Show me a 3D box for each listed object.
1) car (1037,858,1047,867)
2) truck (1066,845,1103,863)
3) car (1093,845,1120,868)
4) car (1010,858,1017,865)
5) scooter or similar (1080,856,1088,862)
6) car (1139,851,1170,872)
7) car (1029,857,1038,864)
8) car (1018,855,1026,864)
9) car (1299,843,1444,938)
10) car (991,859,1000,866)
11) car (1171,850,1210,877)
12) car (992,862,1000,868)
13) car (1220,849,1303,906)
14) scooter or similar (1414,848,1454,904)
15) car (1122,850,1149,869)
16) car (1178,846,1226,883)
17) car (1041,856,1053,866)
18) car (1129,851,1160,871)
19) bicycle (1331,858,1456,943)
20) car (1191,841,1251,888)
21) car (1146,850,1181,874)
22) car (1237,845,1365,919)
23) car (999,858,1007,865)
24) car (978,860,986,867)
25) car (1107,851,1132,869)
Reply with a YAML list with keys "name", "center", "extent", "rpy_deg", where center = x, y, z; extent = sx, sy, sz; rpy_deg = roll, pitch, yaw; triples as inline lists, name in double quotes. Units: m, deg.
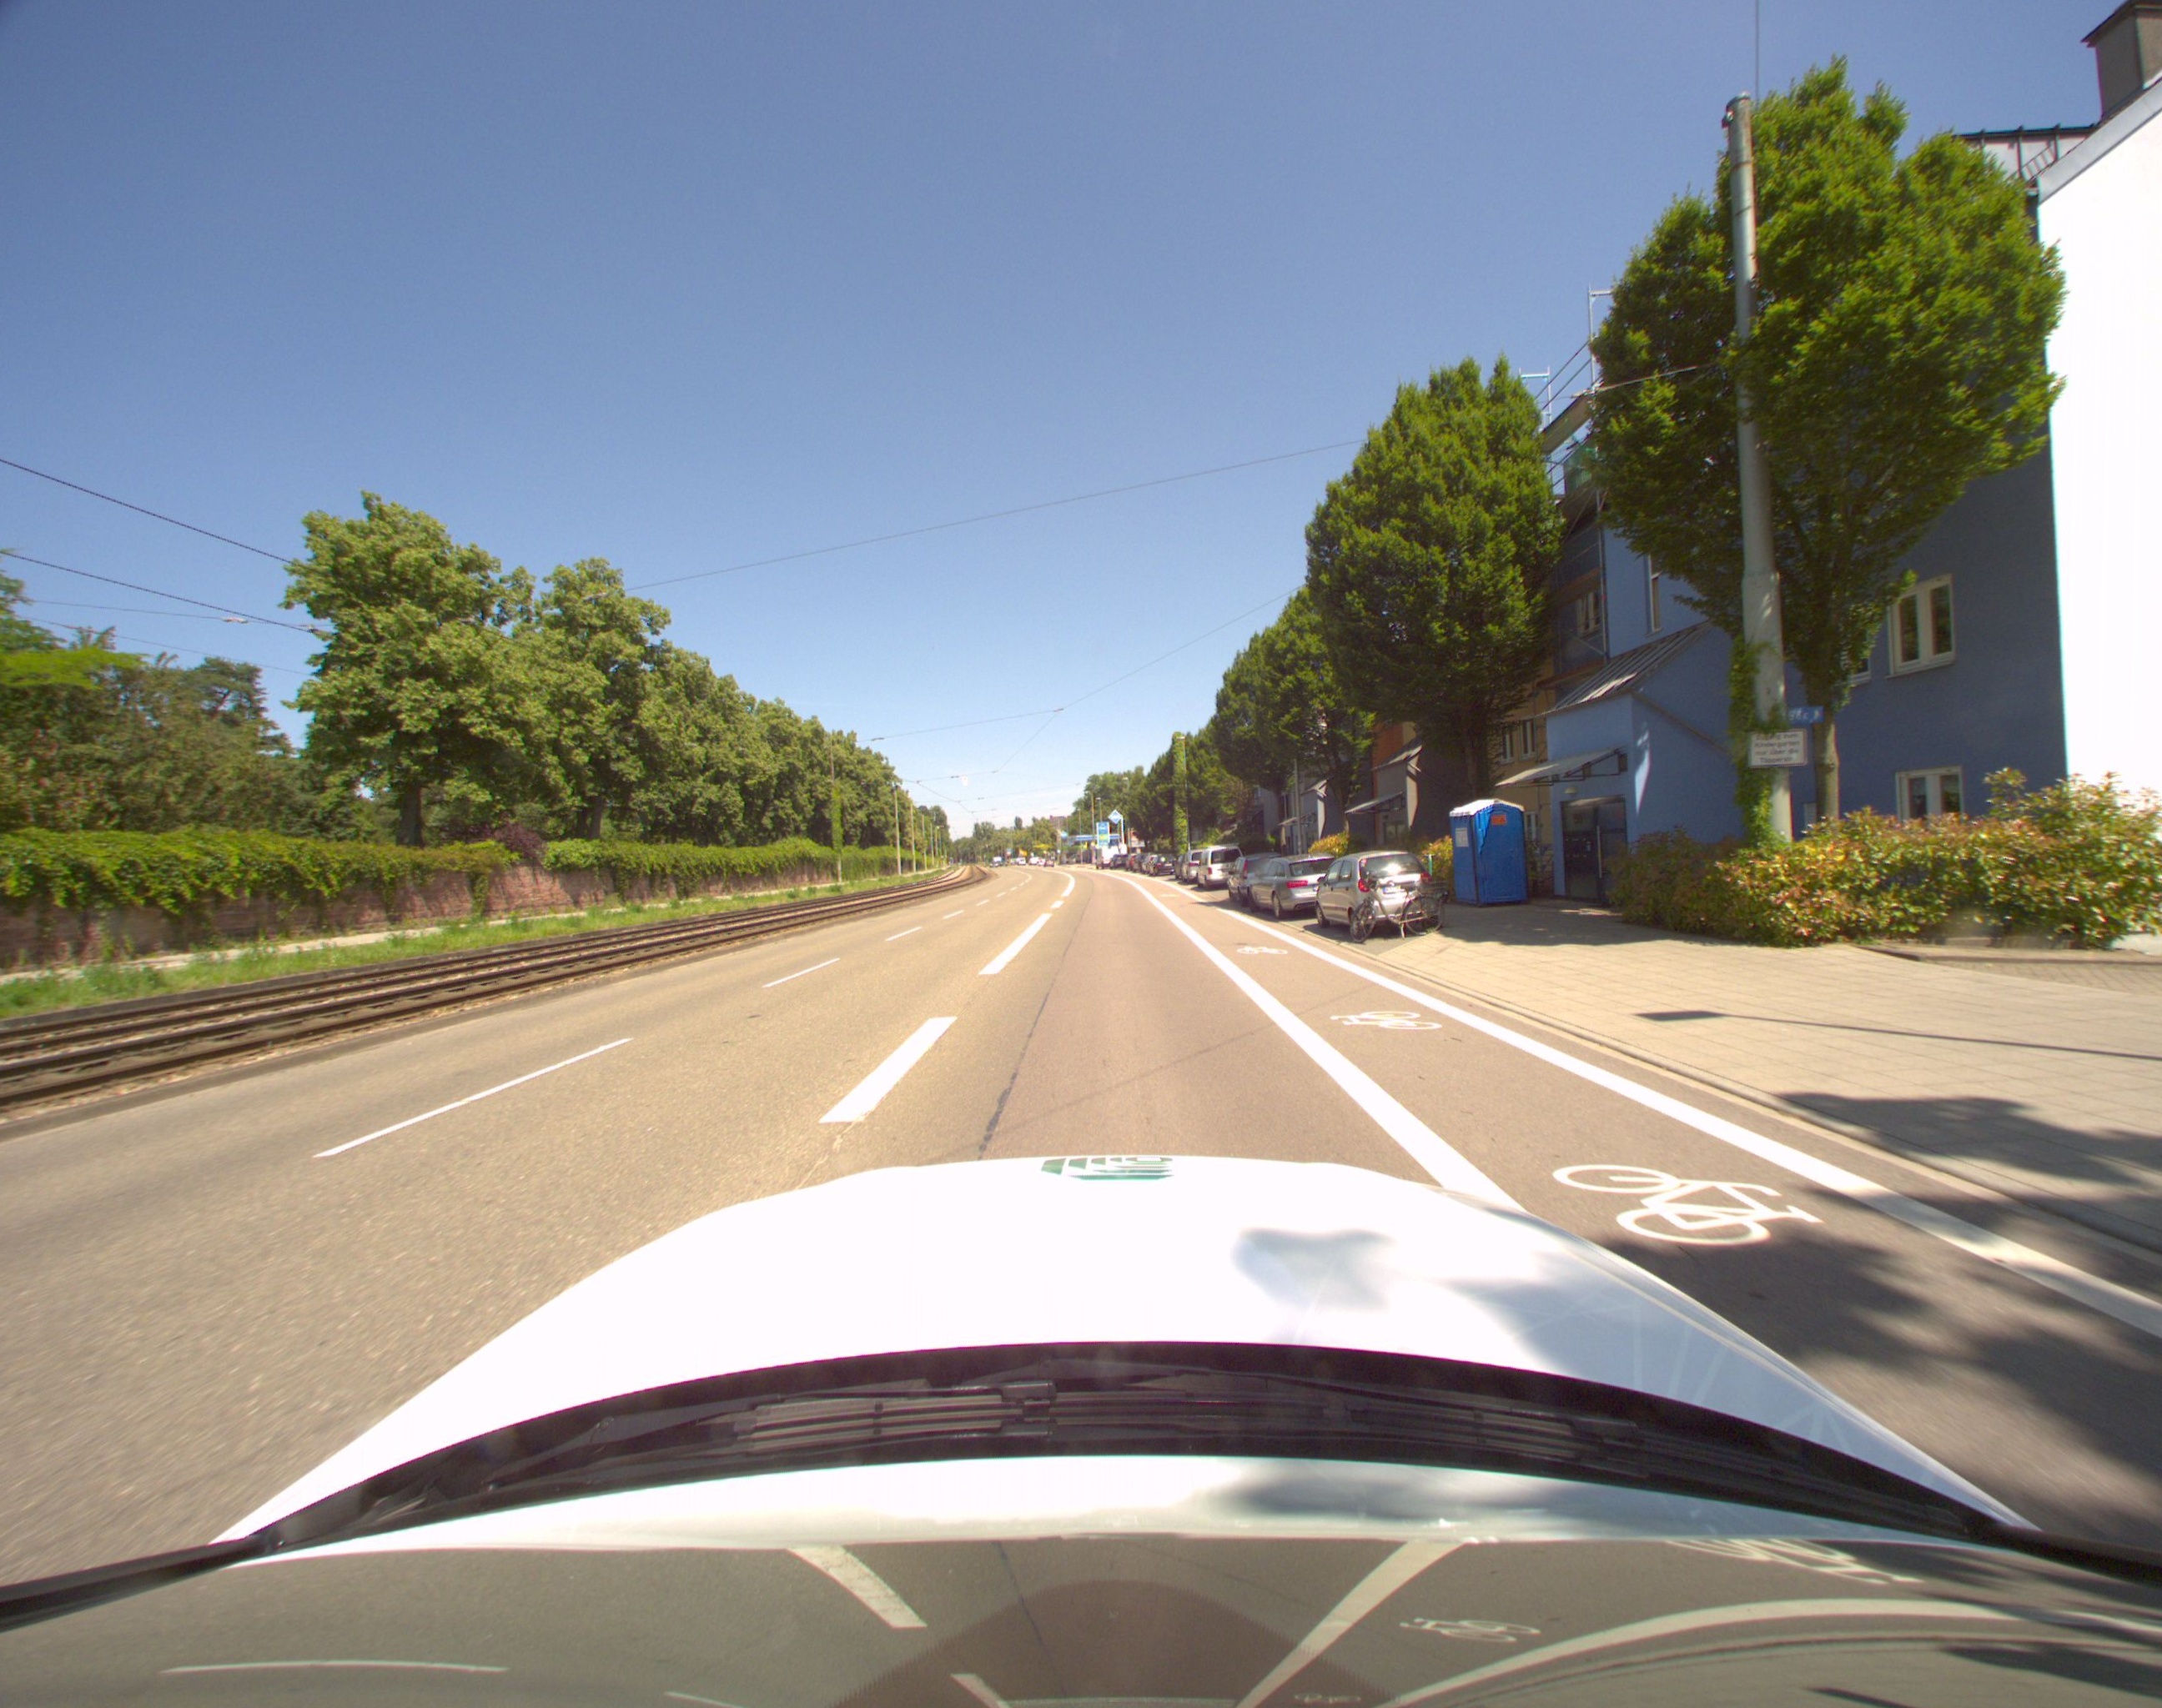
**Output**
- name: "car"
  center: [-8.568, 1.872, 178.999]
  extent: [1.753, 1.630, 4.315]
  rpy_deg: [-5, 0, -6]
- name: "truck"
  center: [0.808, 0.032, 180.476]
  extent: [7.946, 3.602, 2.661]
  rpy_deg: [-2, 0, -2]
- name: "car"
  center: [2.984, 0.321, 96.409]
  extent: [2.000, 2.456, 6.092]
  rpy_deg: [-5, 0, -8]
- name: "car"
  center: [-16.780, 1.887, 202.144]
  extent: [1.753, 1.630, 4.315]
  rpy_deg: [-5, 0, -6]
- name: "scooter or similar"
  center: [0.711, 1.072, 184.472]
  extent: [1.552, 1.328, 0.535]
  rpy_deg: [-2, 0, -9]
- name: "car"
  center: [5.831, 0.587, 64.788]
  extent: [1.703, 1.492, 4.726]
  rpy_deg: [-5, 0, -3]
- name: "car"
  center: [-11.988, 1.719, 206.421]
  extent: [1.754, 1.630, 4.313]
  rpy_deg: [-5, 0, -7]
- name: "car"
  center: [-14.767, 1.372, 202.900]
  extent: [1.754, 1.874, 4.313]
  rpy_deg: [-5, 0, -7]
- name: "car"
  center: [5.565, 0.625, 16.090]
  extent: [1.513, 1.529, 3.818]
  rpy_deg: [-5, 0, 2]
- name: "car"
  center: [-18.635, 1.855, 178.154]
  extent: [1.754, 1.509, 4.313]
  rpy_deg: [-5, 0, -7]
- name: "car"
  center: [6.357, 0.526, 47.630]
  extent: [1.579, 1.423, 4.178]
  rpy_deg: [-5, 0, -1]
- name: "car"
  center: [-23.326, 3.020, 223.209]
  extent: [1.757, 1.630, 4.305]
  rpy_deg: [-5, 0, -12]
- name: "car"
  center: [5.685, 0.683, 26.138]
  extent: [1.833, 1.529, 4.220]
  rpy_deg: [-5, 0, 3]
- name: "scooter or similar"
  center: [8.290, 0.503, 19.173]
  extent: [0.382, 1.280, 1.339]
  rpy_deg: [-1, 0, 2]
- name: "car"
  center: [5.094, 0.535, 76.260]
  extent: [1.705, 1.562, 4.315]
  rpy_deg: [-5, 0, -6]
- name: "car"
  center: [6.190, 0.491, 42.264]
  extent: [1.833, 1.694, 4.781]
  rpy_deg: [-5, 0, 2]
- name: "car"
  center: [-6.232, 1.235, 149.664]
  extent: [1.754, 1.630, 4.313]
  rpy_deg: [-5, 0, -7]
- name: "car"
  center: [5.427, 0.584, 70.333]
  extent: [1.706, 1.562, 4.312]
  rpy_deg: [-5, 0, -7]
- name: "bicycle"
  center: [5.357, 0.784, 14.054]
  extent: [1.765, 1.228, 0.685]
  rpy_deg: [-7, -1, 6]
- name: "car"
  center: [6.129, 0.437, 36.078]
  extent: [1.835, 1.794, 4.354]
  rpy_deg: [-5, 0, 0]
- name: "car"
  center: [5.932, 0.566, 59.136]
  extent: [1.702, 1.492, 5.034]
  rpy_deg: [-5, 0, -2]
- name: "car"
  center: [5.505, 0.636, 21.103]
  extent: [1.835, 1.529, 4.964]
  rpy_deg: [-5, 0, -1]
- name: "car"
  center: [-18.877, 1.814, 197.719]
  extent: [1.754, 1.630, 4.313]
  rpy_deg: [-5, 0, -7]
- name: "car"
  center: [-26.323, 2.616, 216.395]
  extent: [1.757, 1.630, 4.305]
  rpy_deg: [-5, 0, -12]
- name: "car"
  center: [4.038, 0.627, 86.263]
  extent: [1.754, 1.630, 4.313]
  rpy_deg: [-5, 0, -7]
